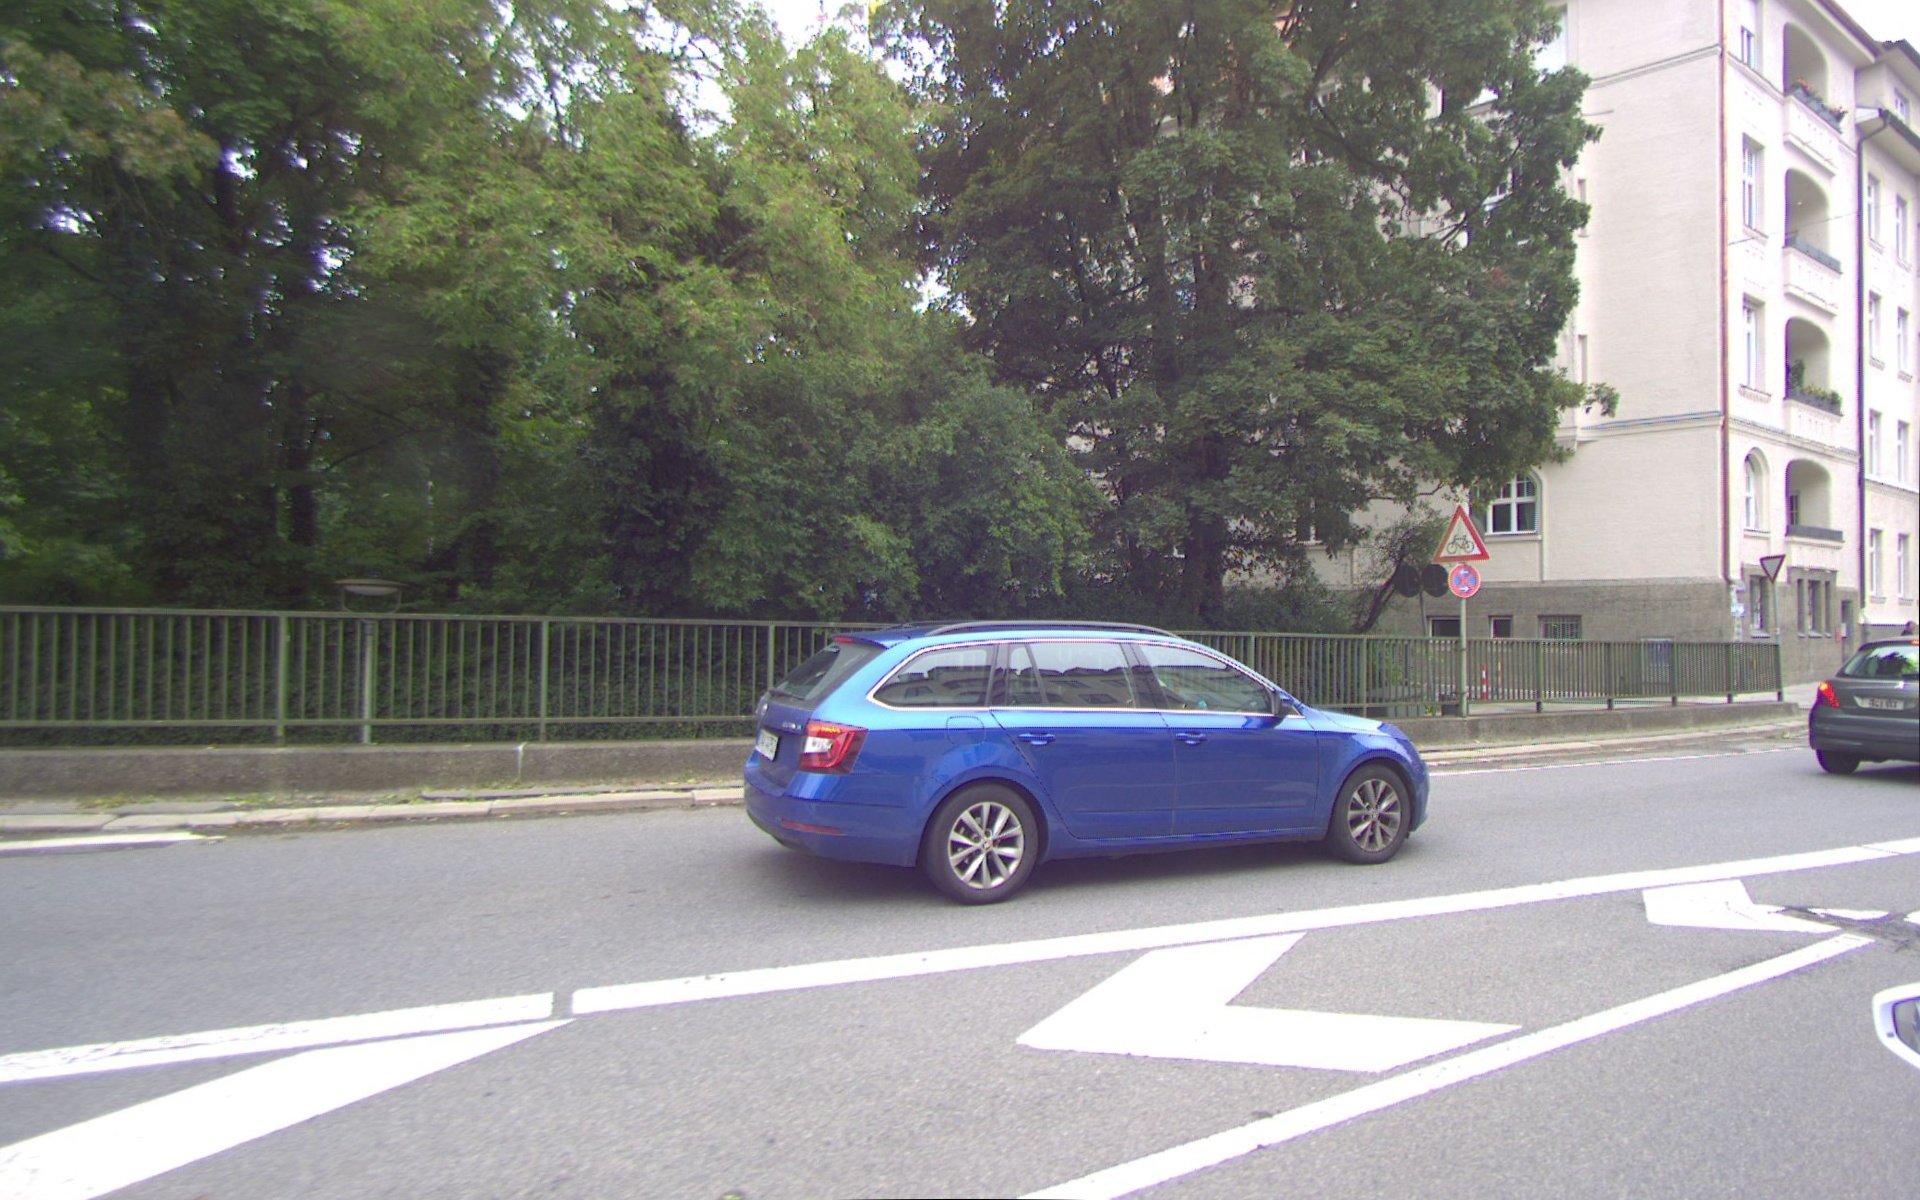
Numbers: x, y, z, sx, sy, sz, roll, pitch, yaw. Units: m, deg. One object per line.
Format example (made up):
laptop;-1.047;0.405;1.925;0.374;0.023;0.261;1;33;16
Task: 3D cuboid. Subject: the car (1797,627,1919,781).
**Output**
car;11.044;1.034;10.653;4.017;1.480;1.754;1;-2;-24

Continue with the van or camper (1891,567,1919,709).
van or camper;22.467;0.741;21.272;6.118;2.878;2.586;0;-1;-33

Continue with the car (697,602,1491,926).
car;0.835;0.807;6.398;4.665;1.473;1.984;1;-2;-22
